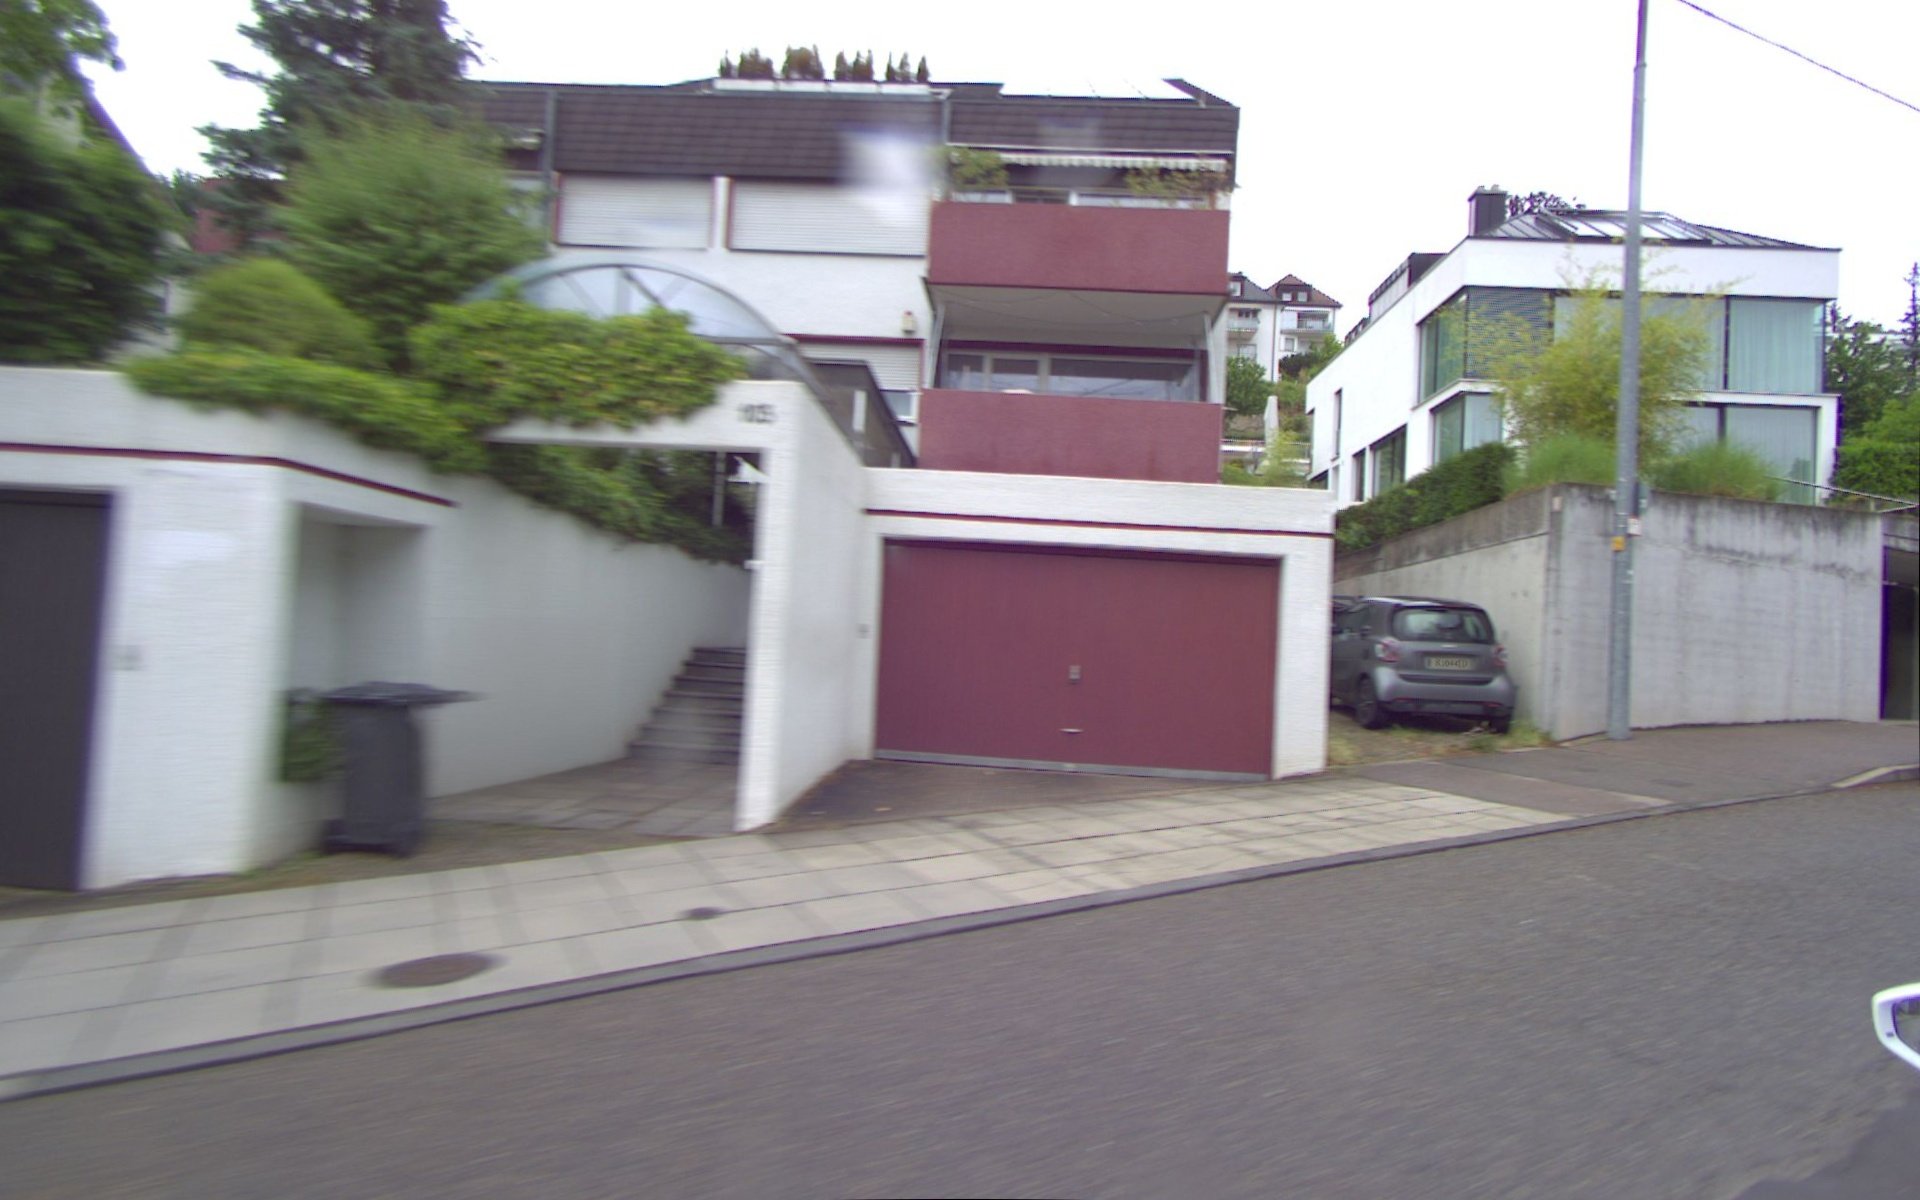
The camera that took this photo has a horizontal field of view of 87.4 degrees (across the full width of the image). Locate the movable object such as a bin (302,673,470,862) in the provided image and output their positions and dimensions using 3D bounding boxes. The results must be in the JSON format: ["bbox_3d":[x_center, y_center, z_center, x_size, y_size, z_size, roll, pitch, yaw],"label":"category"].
[{"bbox_3d":[-3.239,0.926,5.708,0.633,0.976,0.544,1,1,1],"label":"movable object such as a bin"}]

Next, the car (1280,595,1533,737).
[{"bbox_3d":[5.604,0.726,13.184,1.732,1.498,3.932,1,1,3],"label":"car"}]

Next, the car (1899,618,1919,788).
[{"bbox_3d":[10.644,0.946,9.254,3.780,1.536,1.622,1,-1,-25],"label":"car"}]

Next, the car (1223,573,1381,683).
[{"bbox_3d":[6.153,0.421,18.543,1.753,1.768,3.877,2,1,3],"label":"car"}]
